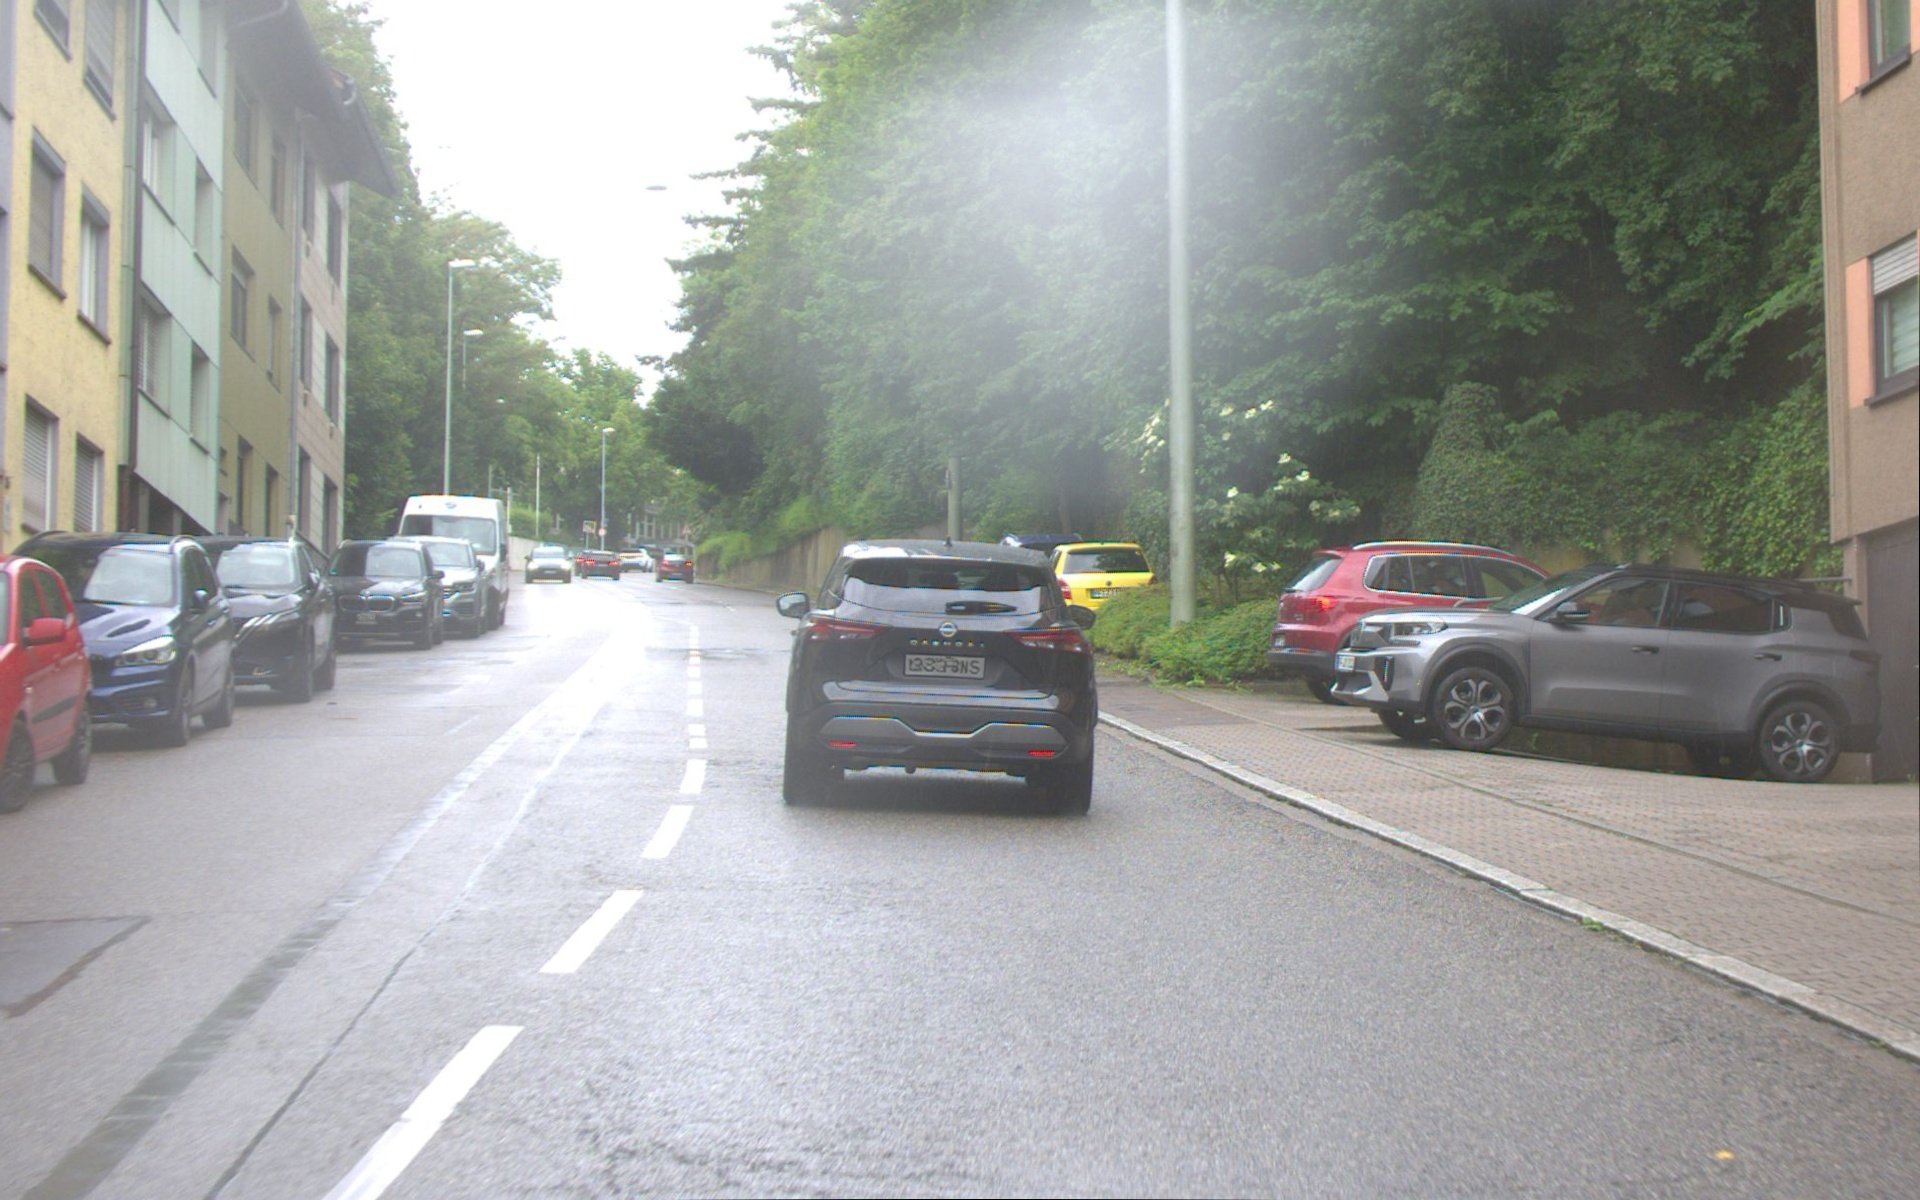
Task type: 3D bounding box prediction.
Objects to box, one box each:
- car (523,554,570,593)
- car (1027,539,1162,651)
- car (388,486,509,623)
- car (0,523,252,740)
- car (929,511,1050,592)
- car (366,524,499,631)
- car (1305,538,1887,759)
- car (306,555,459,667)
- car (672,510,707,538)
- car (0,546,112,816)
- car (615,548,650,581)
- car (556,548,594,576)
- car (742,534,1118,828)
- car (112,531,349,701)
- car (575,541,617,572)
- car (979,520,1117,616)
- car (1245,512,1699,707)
[{"bbox_3d":[-18.308,-1.173,152.277,1.993,1.554,4.001,2,1,-6],"label":"car"},{"bbox_3d":[1.949,-0.102,50.758,1.633,1.525,4.000,2,1,-2],"label":"car"},{"bbox_3d":[-9.682,-0.886,65.433,1.990,2.466,5.785,0,1,-6],"label":"car"},{"bbox_3d":[-6.899,0.187,27.415,1.993,1.579,4.472,0,1,-6],"label":"car"},{"bbox_3d":[0.548,-0.965,68.329,1.810,1.525,4.418,-1,1,-7],"label":"car"},{"bbox_3d":[-8.944,-0.415,58.623,1.990,1.749,4.481,0,1,-6],"label":"car"},{"bbox_3d":[5.061,0.370,27.658,4.197,1.491,1.760,3,1,-6],"label":"car"},{"bbox_3d":[-8.715,0.127,52.185,1.990,1.579,4.306,0,1,-6],"label":"car"},{"bbox_3d":[-16.521,-4.622,209.898,1.993,1.554,4.000,0,-1,-2],"label":"car"},{"bbox_3d":[-6.255,0.419,20.732,1.728,1.467,3.492,0,1,-6],"label":"car"},{"bbox_3d":[-21.572,-2.325,226.478,1.993,2.007,4.000,2,-1,-2],"label":"car"},{"bbox_3d":[-22.186,-2.216,198.136,2.074,1.554,4.001,1,1,-6],"label":"car"},{"bbox_3d":[-0.292,0.423,21.315,1.993,1.554,4.001,2,1,-5],"label":"car"},{"bbox_3d":[-7.239,0.112,34.494,1.853,1.579,4.306,0,1,-6],"label":"car"},{"bbox_3d":[-18.740,-2.254,177.155,2.074,1.554,4.001,1,1,-6],"label":"car"},{"bbox_3d":[1.435,-0.550,57.704,1.810,1.525,4.418,-1,1,-5],"label":"car"},{"bbox_3d":[5.233,0.087,35.379,4.197,1.728,1.760,3,0,-8],"label":"car"}]
